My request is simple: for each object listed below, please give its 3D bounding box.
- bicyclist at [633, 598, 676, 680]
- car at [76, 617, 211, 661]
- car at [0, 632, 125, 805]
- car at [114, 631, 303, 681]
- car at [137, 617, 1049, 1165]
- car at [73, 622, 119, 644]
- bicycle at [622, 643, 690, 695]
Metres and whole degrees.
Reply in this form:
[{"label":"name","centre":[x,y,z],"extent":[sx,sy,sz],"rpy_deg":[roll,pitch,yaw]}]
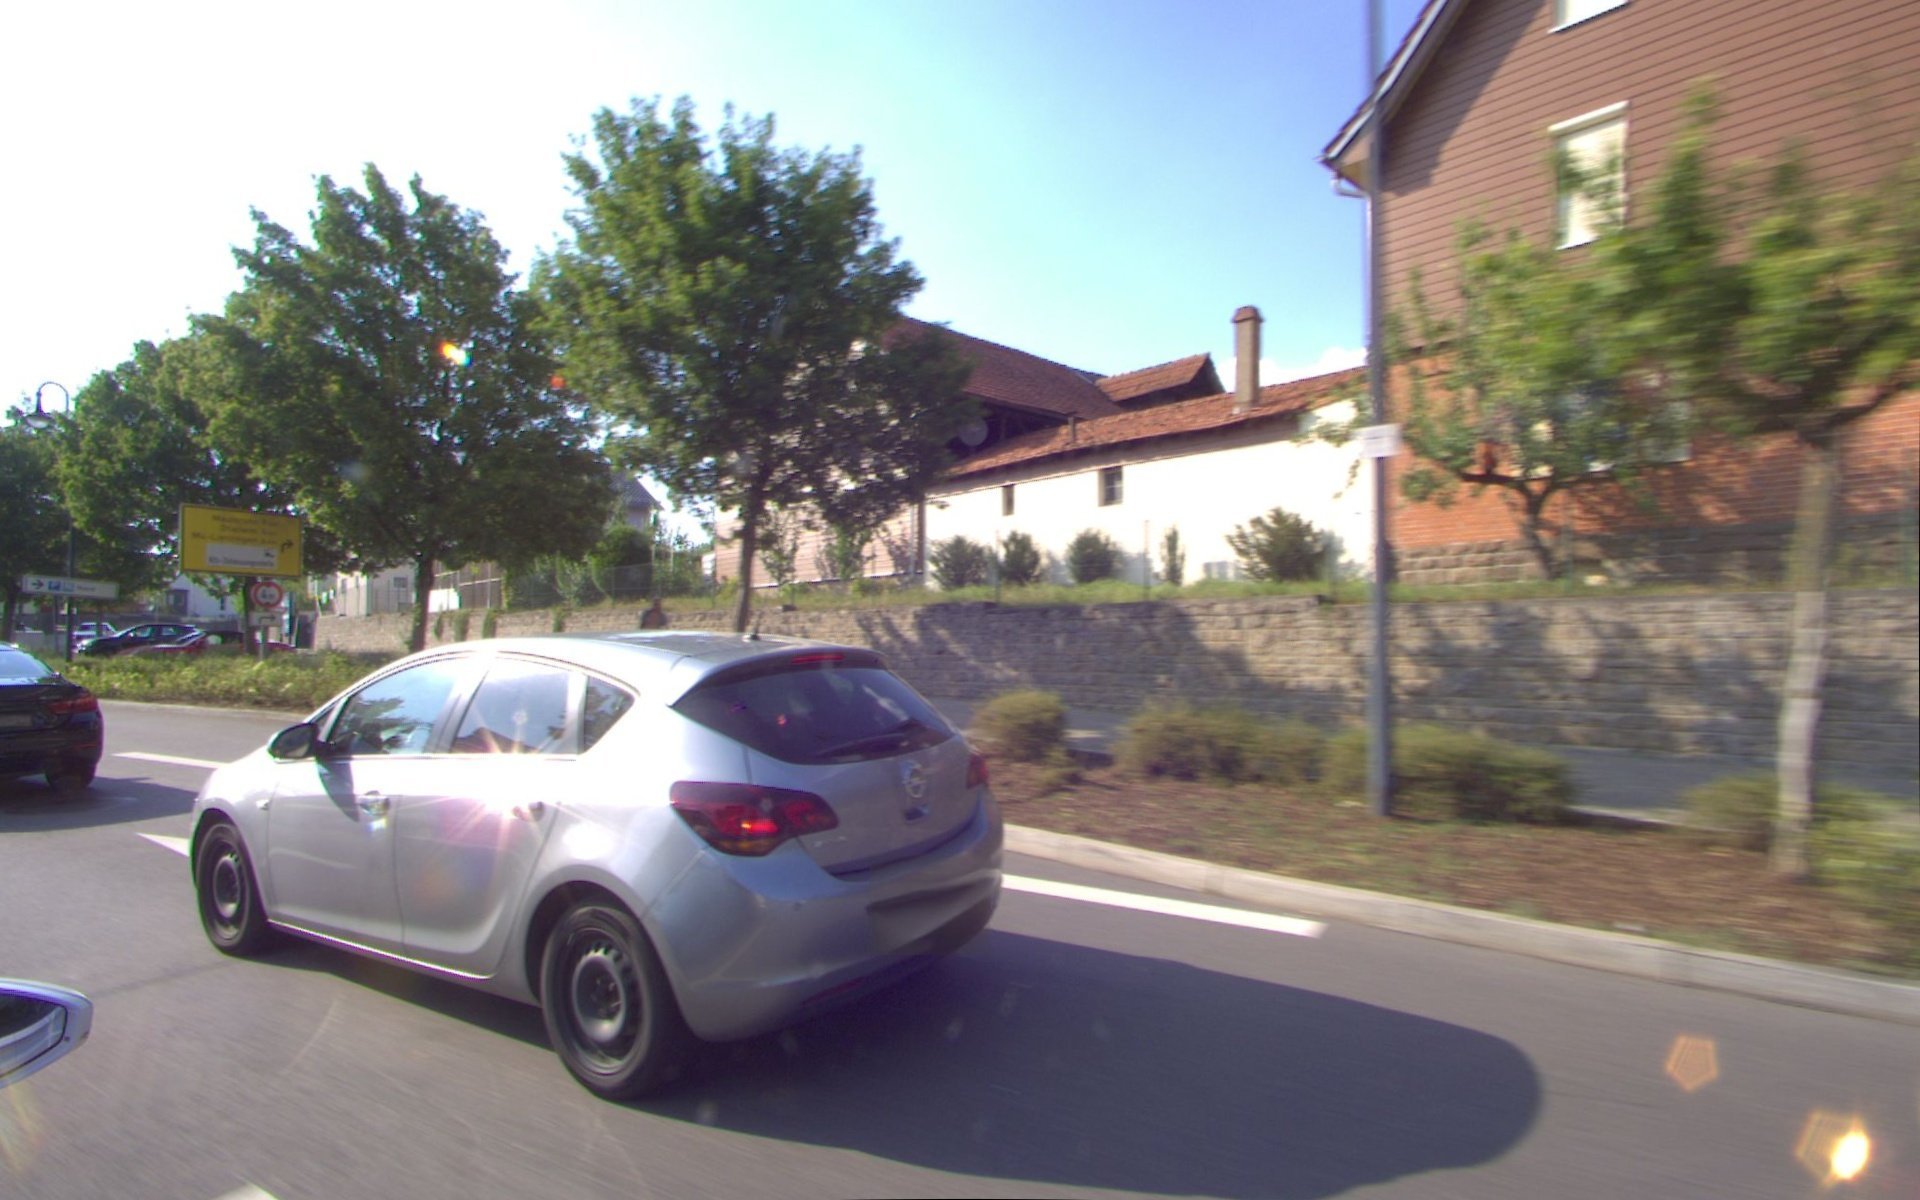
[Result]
[{"label":"bicyclist","centre":[-6.478,0.832,21.209],"extent":[0.726,1.699,0.599],"rpy_deg":[-1,-2,43]},{"label":"car","centre":[-32.362,1.535,39.748],"extent":[1.834,1.628,3.966],"rpy_deg":[-2,-2,43]},{"label":"car","centre":[-9.673,1.012,9.236],"extent":[4.285,1.406,1.813],"rpy_deg":[-1,-2,32]},{"label":"car","centre":[-20.868,1.507,27.908],"extent":[1.834,1.288,3.966],"rpy_deg":[-2,-3,43]},{"label":"car","centre":[-1.822,0.842,4.523],"extent":[4.108,1.460,1.741],"rpy_deg":[-1,-2,32]},{"label":"car","centre":[-61.736,2.371,71.591],"extent":[1.843,1.504,4.632],"rpy_deg":[1,-2,-33]},{"label":"bicycle","centre":[-6.450,1.442,21.204],"extent":[1.856,1.031,0.518],"rpy_deg":[-2,-2,43]}]
